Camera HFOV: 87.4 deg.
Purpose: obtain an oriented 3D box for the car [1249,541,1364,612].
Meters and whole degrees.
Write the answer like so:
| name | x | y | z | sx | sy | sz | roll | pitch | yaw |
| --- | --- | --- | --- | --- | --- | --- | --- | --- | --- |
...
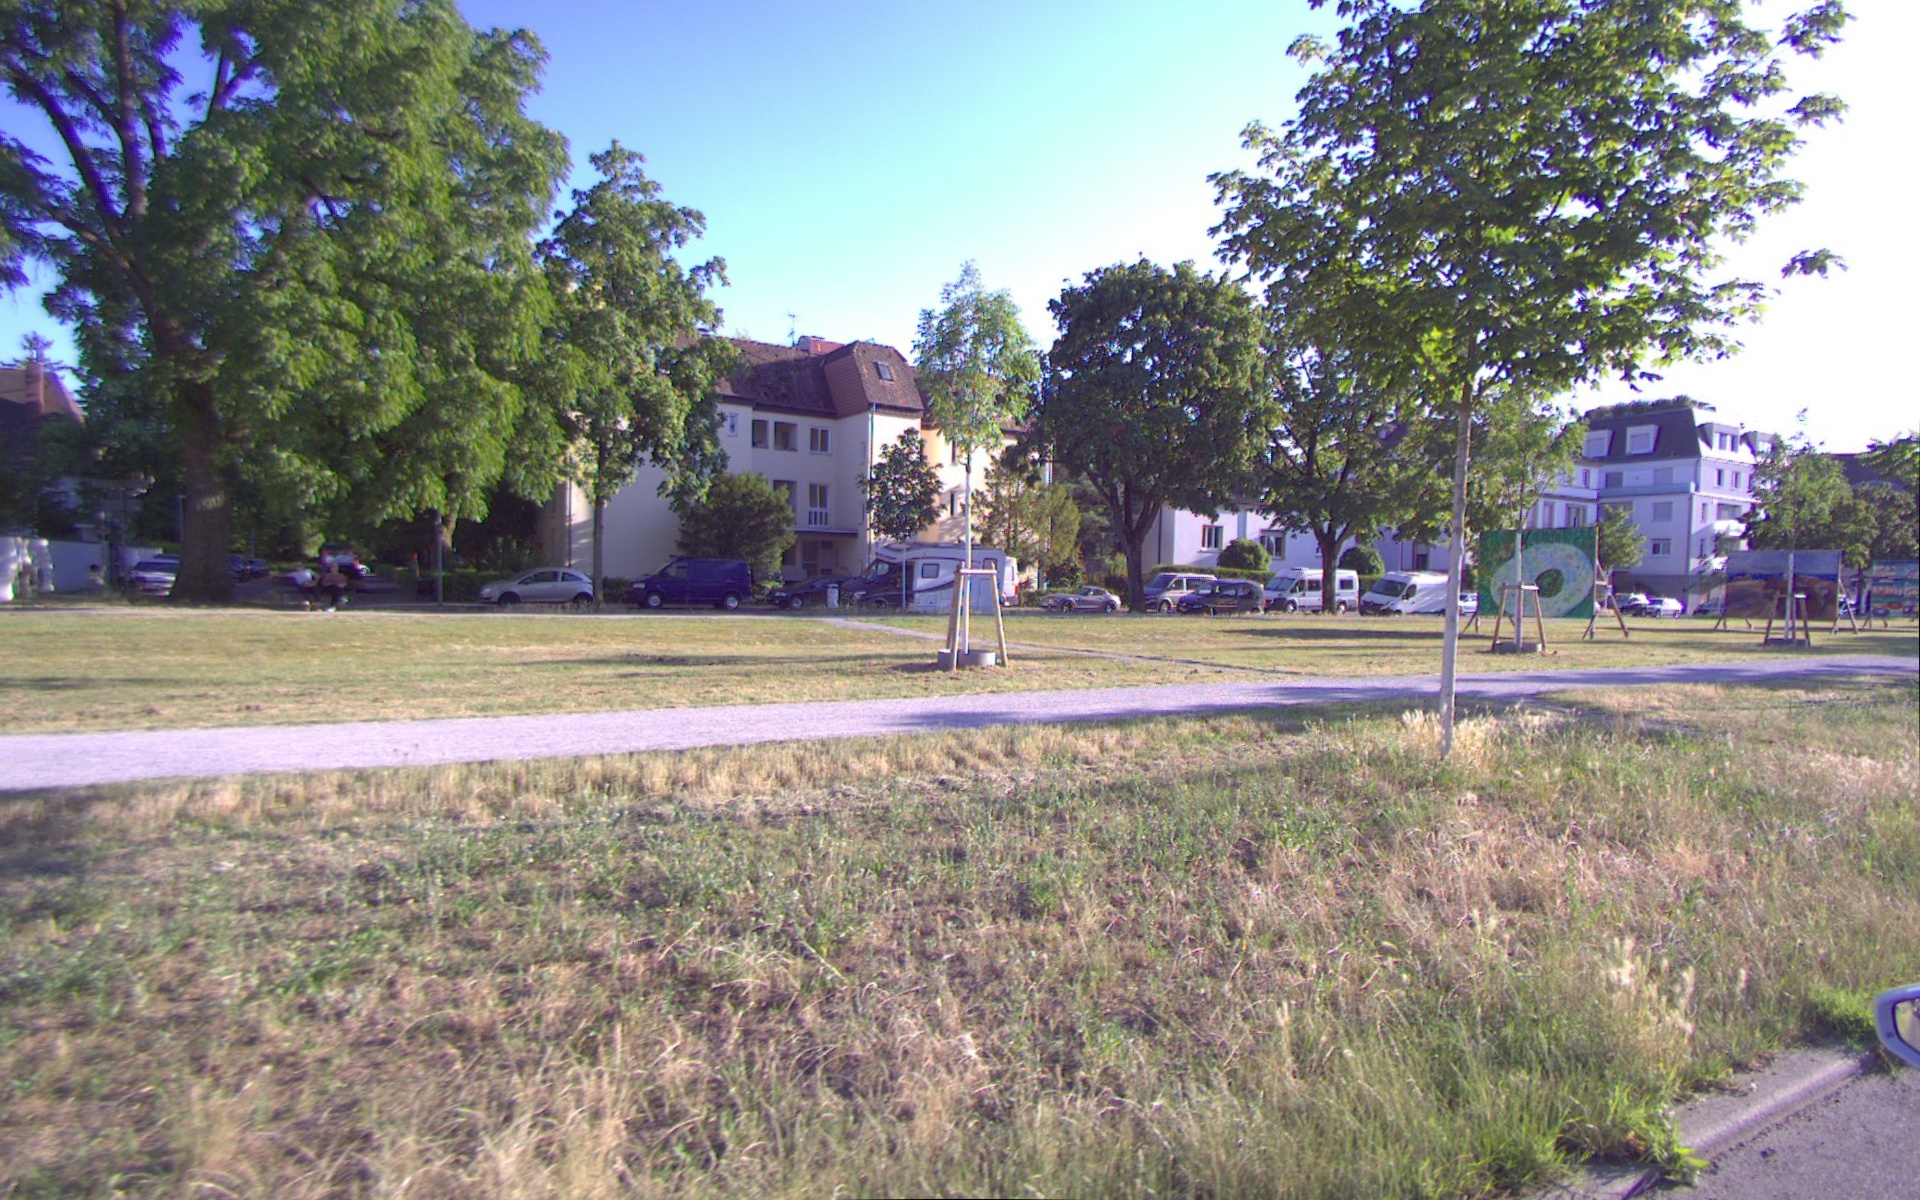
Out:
| name | x | y | z | sx | sy | sz | roll | pitch | yaw |
| --- | --- | --- | --- | --- | --- | --- | --- | --- | --- |
| car | 19.489 | -1.234 | 56.373 | 6.685 | 3.605 | 2.293 | 2 | -2 | -30 |

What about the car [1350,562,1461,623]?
| name | x | y | z | sx | sy | sz | roll | pitch | yaw |
| --- | --- | --- | --- | --- | --- | --- | --- | --- | --- |
| car | 22.991 | -0.328 | 51.771 | 5.801 | 2.863 | 2.251 | 2 | -2 | -30 |

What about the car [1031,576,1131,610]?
| name | x | y | z | sx | sy | sz | roll | pitch | yaw |
| --- | --- | --- | --- | --- | --- | --- | --- | --- | --- |
| car | 5.905 | -0.315 | 48.862 | 4.501 | 1.421 | 1.987 | 2 | -2 | -26 |

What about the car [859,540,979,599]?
| name | x | y | z | sx | sy | sz | roll | pitch | yaw |
| --- | --- | --- | --- | --- | --- | --- | --- | --- | --- |
| car | -1.525 | -1.117 | 37.411 | 3.951 | 2.041 | 1.984 | 1 | 2 | -29 |

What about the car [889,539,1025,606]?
| name | x | y | z | sx | sy | sz | roll | pitch | yaw |
| --- | --- | --- | --- | --- | --- | --- | --- | --- | --- |
| car | -0.084 | -1.174 | 45.555 | 6.019 | 2.631 | 1.984 | 2 | -2 | -30 |

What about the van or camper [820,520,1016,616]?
| name | x | y | z | sx | sy | sz | roll | pitch | yaw |
| --- | --- | --- | --- | --- | --- | --- | --- | --- | --- |
| van or camper | -1.525 | -1.117 | 37.411 | 6.820 | 3.307 | 2.630 | 1 | 2 | -29 |

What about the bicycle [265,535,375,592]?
| name | x | y | z | sx | sy | sz | roll | pitch | yaw |
| --- | --- | --- | --- | --- | --- | --- | --- | --- | --- |
| bicycle | -16.163 | -0.898 | 25.434 | 2.300 | 1.360 | 0.509 | 1 | 2 | -27 |

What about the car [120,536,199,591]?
| name | x | y | z | sx | sy | sz | roll | pitch | yaw |
| --- | --- | --- | --- | --- | --- | --- | --- | --- | --- |
| car | -30.490 | -1.409 | 38.389 | 1.960 | 1.925 | 4.484 | 1 | 2 | -34 |

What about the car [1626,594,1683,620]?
| name | x | y | z | sx | sy | sz | roll | pitch | yaw |
| --- | --- | --- | --- | --- | --- | --- | --- | --- | --- |
| car | 52.712 | 0.542 | 76.196 | 4.405 | 1.767 | 1.814 | 2 | -2 | -29 |

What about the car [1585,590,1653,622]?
| name | x | y | z | sx | sy | sz | roll | pitch | yaw |
| --- | --- | --- | --- | --- | --- | --- | --- | --- | --- |
| car | 48.426 | 0.475 | 73.813 | 4.794 | 2.158 | 2.229 | 2 | -2 | -29 |

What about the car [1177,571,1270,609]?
| name | x | y | z | sx | sy | sz | roll | pitch | yaw |
| --- | --- | --- | --- | --- | --- | --- | --- | --- | --- |
| car | 11.770 | -0.430 | 44.822 | 4.260 | 1.585 | 1.407 | 1 | 2 | -31 |

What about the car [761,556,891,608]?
| name | x | y | z | sx | sy | sz | roll | pitch | yaw |
| --- | --- | --- | --- | --- | --- | --- | --- | --- | --- |
| car | -5.601 | -0.736 | 42.152 | 4.988 | 2.031 | 1.961 | 1 | 2 | -29 |

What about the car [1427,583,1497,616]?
| name | x | y | z | sx | sy | sz | roll | pitch | yaw |
| --- | --- | --- | --- | --- | --- | --- | --- | --- | --- |
| car | 31.961 | -0.017 | 63.912 | 4.659 | 1.878 | 1.722 | 2 | -2 | -30 |

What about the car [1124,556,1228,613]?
| name | x | y | z | sx | sy | sz | roll | pitch | yaw |
| --- | --- | --- | --- | --- | --- | --- | --- | --- | --- |
| car | 11.141 | -0.755 | 51.679 | 5.266 | 2.638 | 2.125 | 2 | -2 | -32 |

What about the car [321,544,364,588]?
| name | x | y | z | sx | sy | sz | roll | pitch | yaw |
| --- | --- | --- | --- | --- | --- | --- | --- | --- | --- |
| car | -32.092 | -1.801 | 52.283 | 1.849 | 2.152 | 3.966 | 1 | 2 | -31 |

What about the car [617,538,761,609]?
| name | x | y | z | sx | sy | sz | roll | pitch | yaw |
| --- | --- | --- | --- | --- | --- | --- | --- | --- | --- |
| car | -10.530 | -0.950 | 39.139 | 5.055 | 2.450 | 1.929 | 2 | -2 | -29 |

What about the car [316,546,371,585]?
| name | x | y | z | sx | sy | sz | roll | pitch | yaw |
| --- | --- | --- | --- | --- | --- | --- | --- | --- | --- |
| car | -29.430 | -1.673 | 48.019 | 2.156 | 1.703 | 4.111 | 1 | 2 | -31 |

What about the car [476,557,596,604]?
| name | x | y | z | sx | sy | sz | roll | pitch | yaw |
| --- | --- | --- | --- | --- | --- | --- | --- | --- | --- |
| car | -15.379 | -0.701 | 36.415 | 3.766 | 1.563 | 1.983 | 1 | 2 | -32 |
